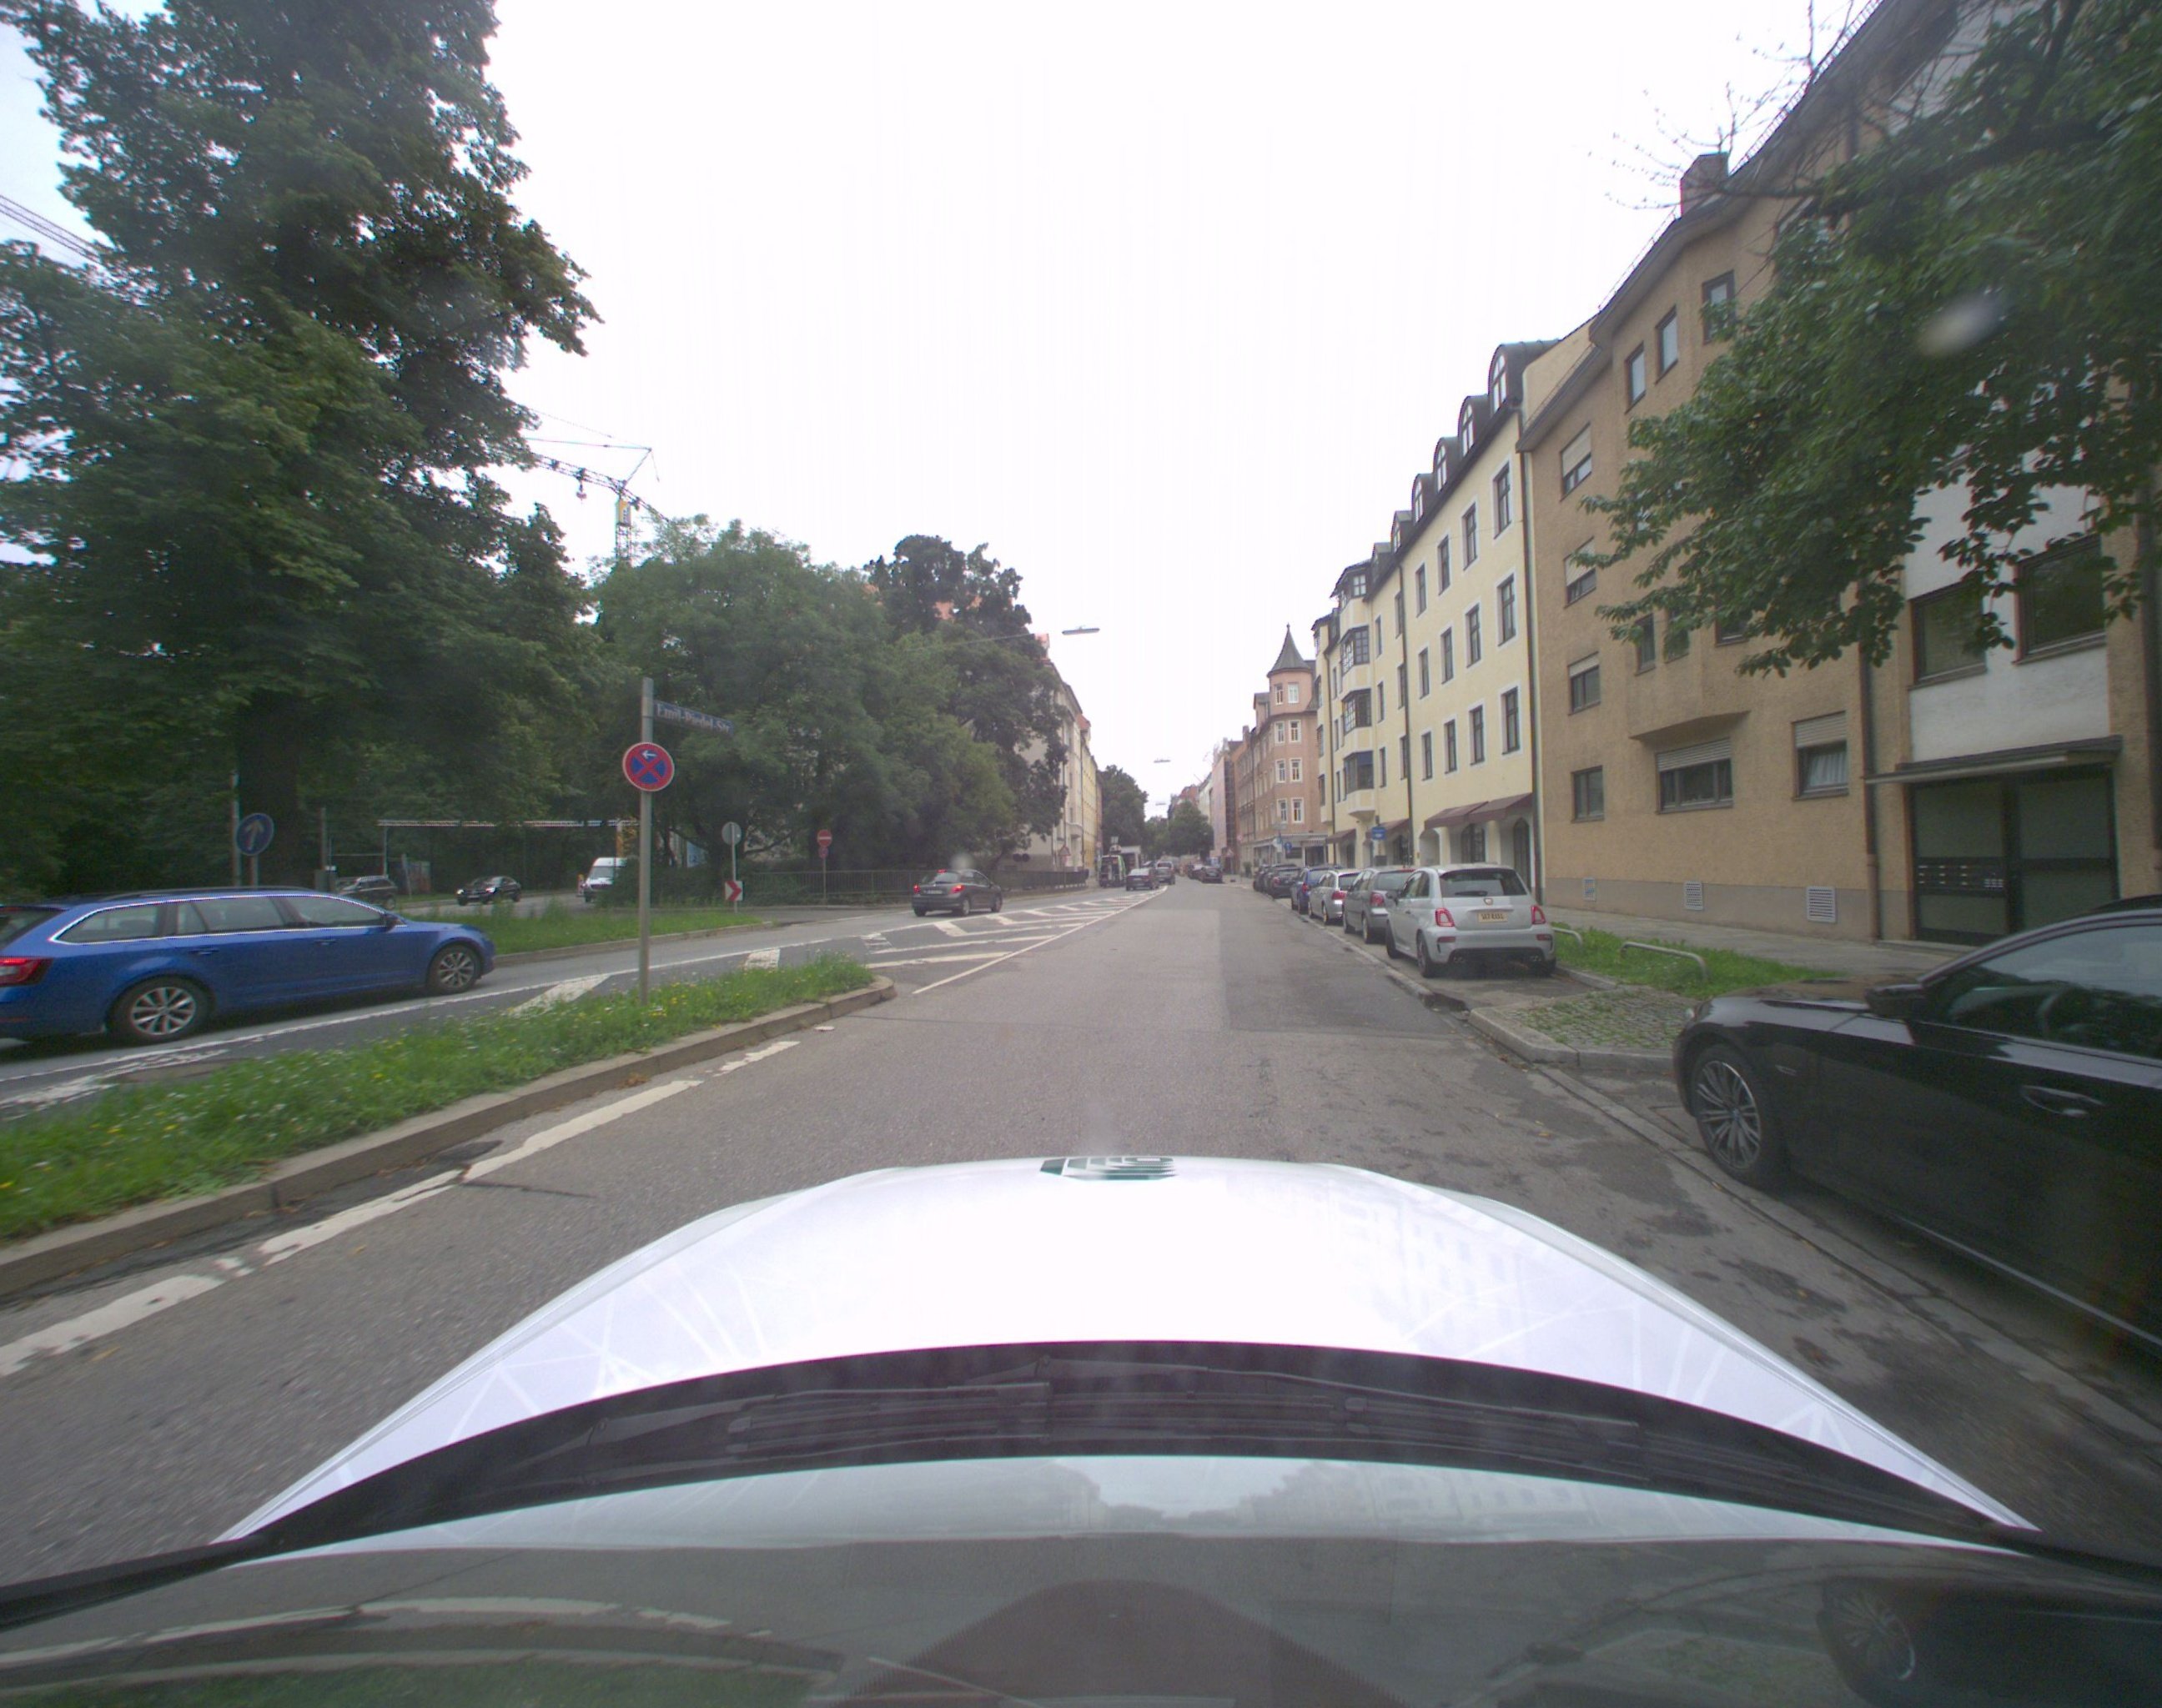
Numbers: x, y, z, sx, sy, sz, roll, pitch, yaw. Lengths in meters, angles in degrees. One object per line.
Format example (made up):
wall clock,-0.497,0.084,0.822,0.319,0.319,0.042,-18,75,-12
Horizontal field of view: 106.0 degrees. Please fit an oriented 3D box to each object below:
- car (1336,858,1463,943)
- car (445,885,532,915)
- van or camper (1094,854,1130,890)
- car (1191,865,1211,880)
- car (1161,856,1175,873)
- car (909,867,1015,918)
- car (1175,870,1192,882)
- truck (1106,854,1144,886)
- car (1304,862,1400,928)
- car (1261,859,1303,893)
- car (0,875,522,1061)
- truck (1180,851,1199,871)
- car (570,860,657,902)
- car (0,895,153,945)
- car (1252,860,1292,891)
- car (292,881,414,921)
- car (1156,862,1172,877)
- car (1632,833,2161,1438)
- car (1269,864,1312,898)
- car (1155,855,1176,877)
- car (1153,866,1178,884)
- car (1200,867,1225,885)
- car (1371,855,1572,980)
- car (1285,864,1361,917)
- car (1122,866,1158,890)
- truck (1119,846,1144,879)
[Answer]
car,6.375,0.885,16.707,1.618,1.496,3.796,-3,-1,9
car,-33.618,2.569,46.387,1.887,1.446,4.383,-2,-1,-3
van or camper,2.662,1.416,68.341,2.587,2.840,6.196,-1,0,6
car,12.761,1.954,86.886,1.836,1.429,4.311,2,0,4
car,13.226,1.622,123.899,1.929,2.480,4.791,-1,-1,7
car,-3.745,1.194,26.302,1.745,1.461,4.092,-2,-1,17
car,13.115,2.847,104.551,1.980,1.429,4.147,-1,0,6
truck,4.354,1.501,78.584,2.756,2.873,7.221,-1,0,10
car,7.091,1.022,21.691,1.680,1.496,4.445,-3,-1,9
car,10.720,1.168,43.761,1.746,1.679,4.718,-3,-1,9
car,-9.137,1.000,8.996,1.973,1.454,4.751,-2,-1,13
truck,16.015,1.053,120.574,2.480,2.973,5.334,-1,-1,5
car,-27.152,1.537,47.585,2.296,2.270,5.122,-1,-1,-3
car,-35.081,2.215,27.724,1.989,1.446,4.418,-2,-1,-3
car,11.499,1.272,49.208,1.809,1.679,4.519,-3,-1,7
car,-36.093,2.293,40.570,1.989,1.718,4.643,-2,-1,-3
car,11.155,2.071,110.020,1.984,2.014,4.005,-2,-1,5
car,3.651,0.698,2.203,1.781,1.497,4.386,-4,-2,9
car,9.923,1.253,38.815,1.745,1.496,3.835,-3,-1,12
car,8.323,1.125,80.548,1.980,2.075,4.147,-1,0,6
car,7.039,1.722,67.680,1.980,1.429,4.147,-1,0,6
car,11.656,1.945,72.327,1.836,1.429,4.188,2,0,4
car,5.555,0.836,12.109,1.618,1.496,3.830,-3,-1,9
car,7.753,1.135,26.417,1.746,1.496,4.499,-3,-1,9
car,4.072,1.626,55.780,1.978,1.429,4.918,-1,0,9
truck,6.325,1.143,101.794,2.999,3.952,7.002,-1,-1,4
